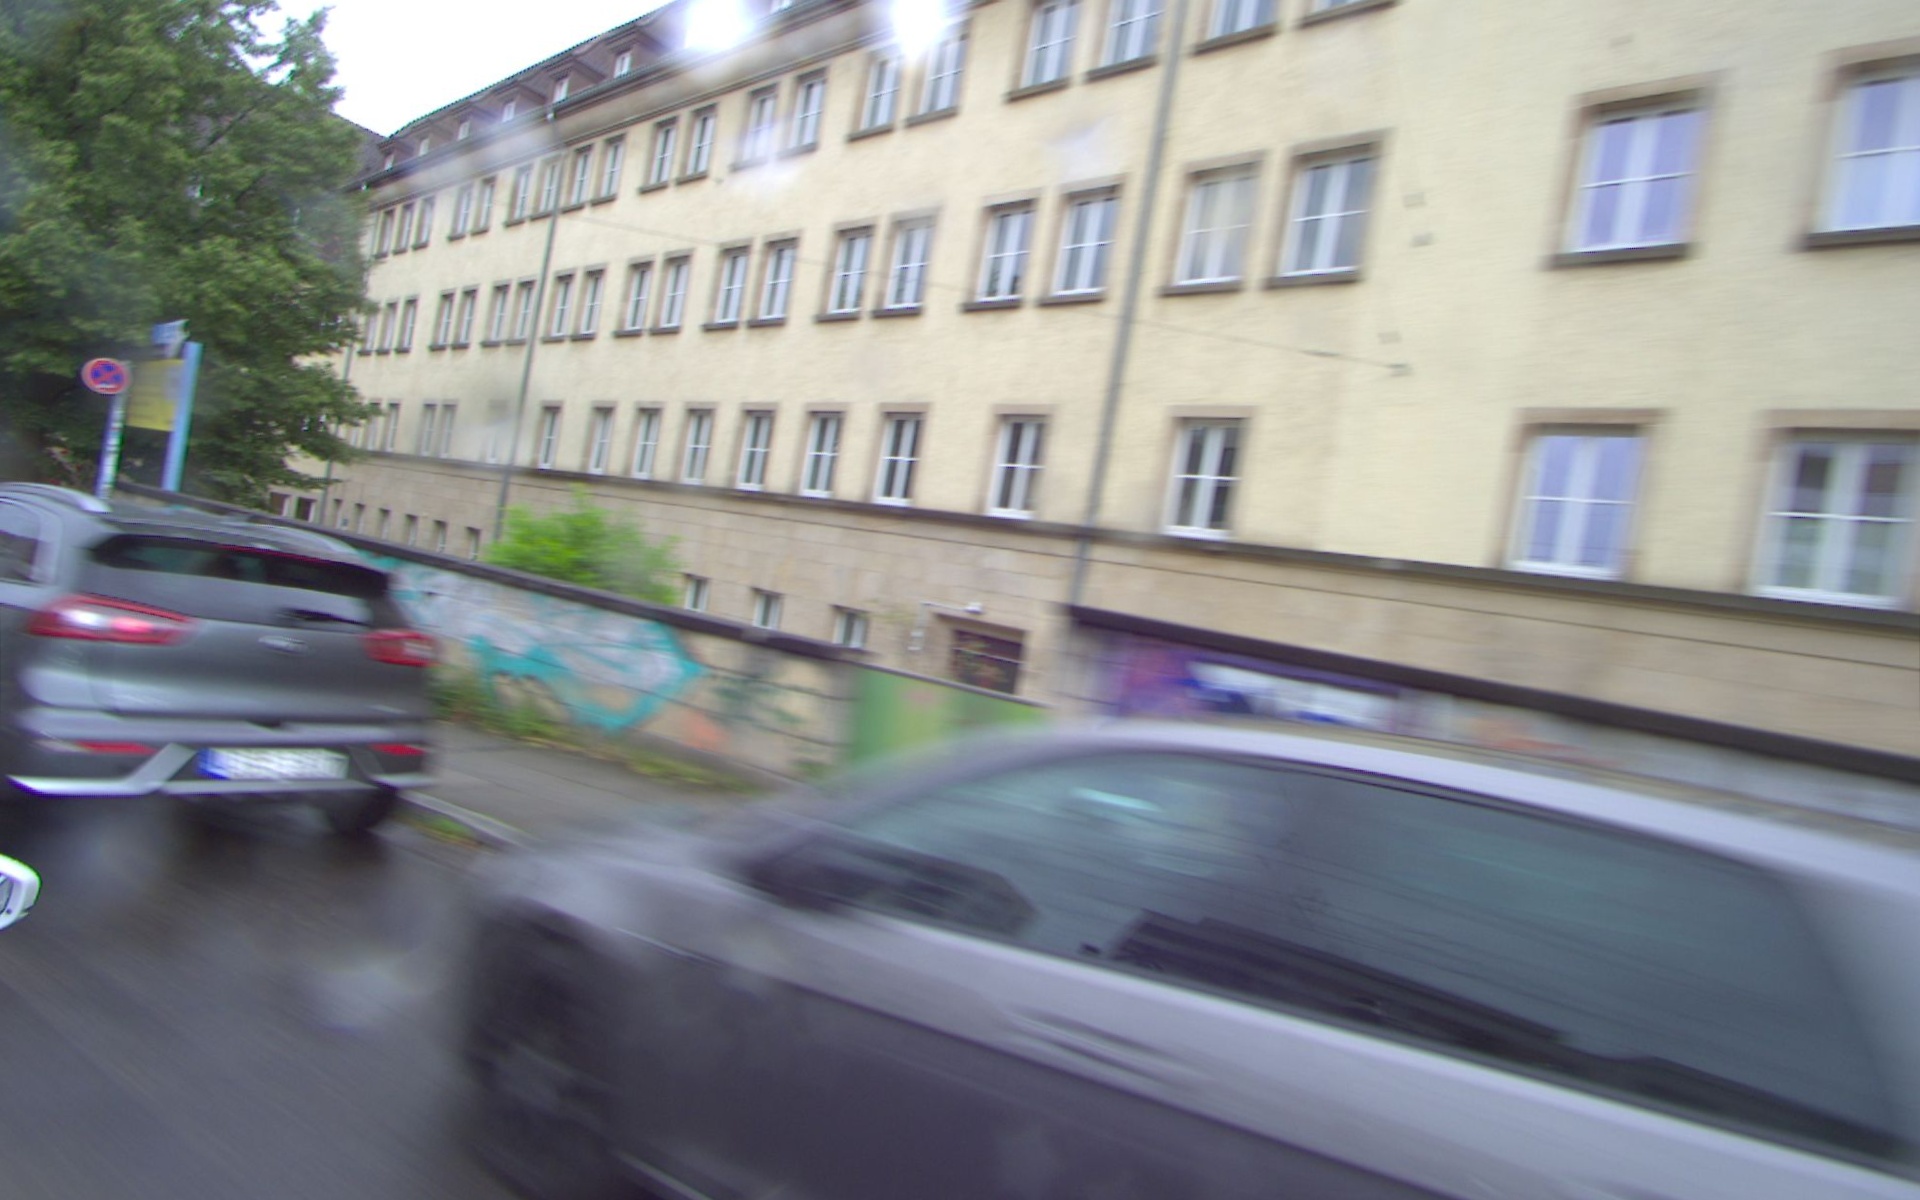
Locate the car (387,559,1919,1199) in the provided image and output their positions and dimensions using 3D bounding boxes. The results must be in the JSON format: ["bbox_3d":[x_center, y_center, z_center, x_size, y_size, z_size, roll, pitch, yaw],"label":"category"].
[{"bbox_3d":[0.655,0.910,2.401,4.040,1.495,1.668,7,0,31],"label":"car"}]

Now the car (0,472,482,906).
[{"bbox_3d":[-4.630,0.211,5.348,4.040,1.541,1.670,7,-3,31],"label":"car"}]
